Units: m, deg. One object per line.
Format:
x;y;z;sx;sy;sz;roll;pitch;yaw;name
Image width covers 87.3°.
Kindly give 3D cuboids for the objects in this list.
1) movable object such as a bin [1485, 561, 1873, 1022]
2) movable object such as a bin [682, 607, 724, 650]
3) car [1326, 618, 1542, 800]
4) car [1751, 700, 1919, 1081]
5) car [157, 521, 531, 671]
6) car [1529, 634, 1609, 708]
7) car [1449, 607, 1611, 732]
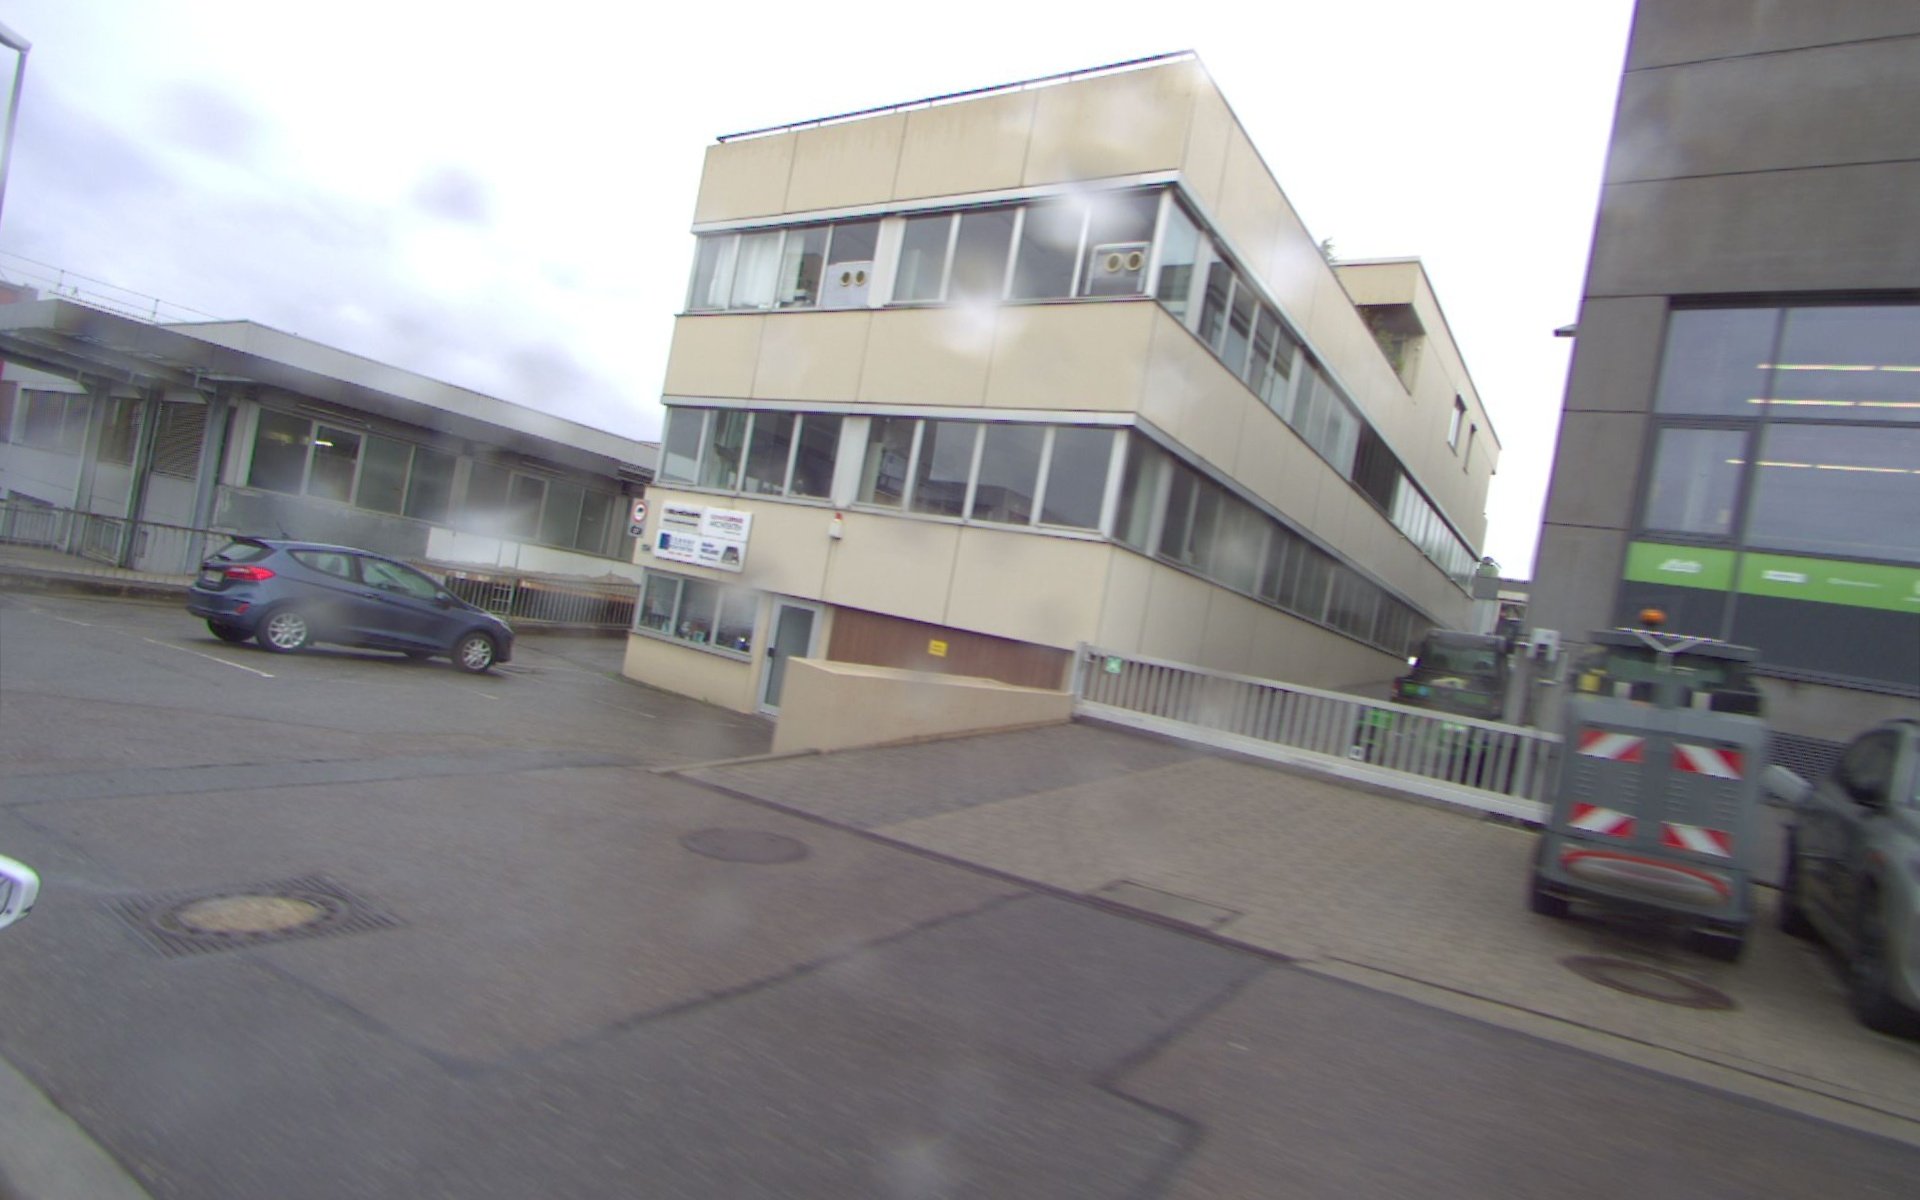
4.879;1.119;7.027;1.453;2.135;4.259;7;-2;35;movable object such as a bin
-8.498;0.950;33.297;0.672;1.278;0.995;7;-2;36;movable object such as a bin
6.954;1.367;14.432;1.868;1.877;4.888;11;5;33;car
6.285;1.581;5.960;1.894;1.632;5.098;7;-1;33;car
-8.284;0.023;13.887;1.792;1.398;3.904;6;-5;33;car
22.135;2.496;36.475;2.126;2.285;5.090;6;1;33;car
13.125;1.514;22.868;1.967;2.285;6.770;6;1;39;car
